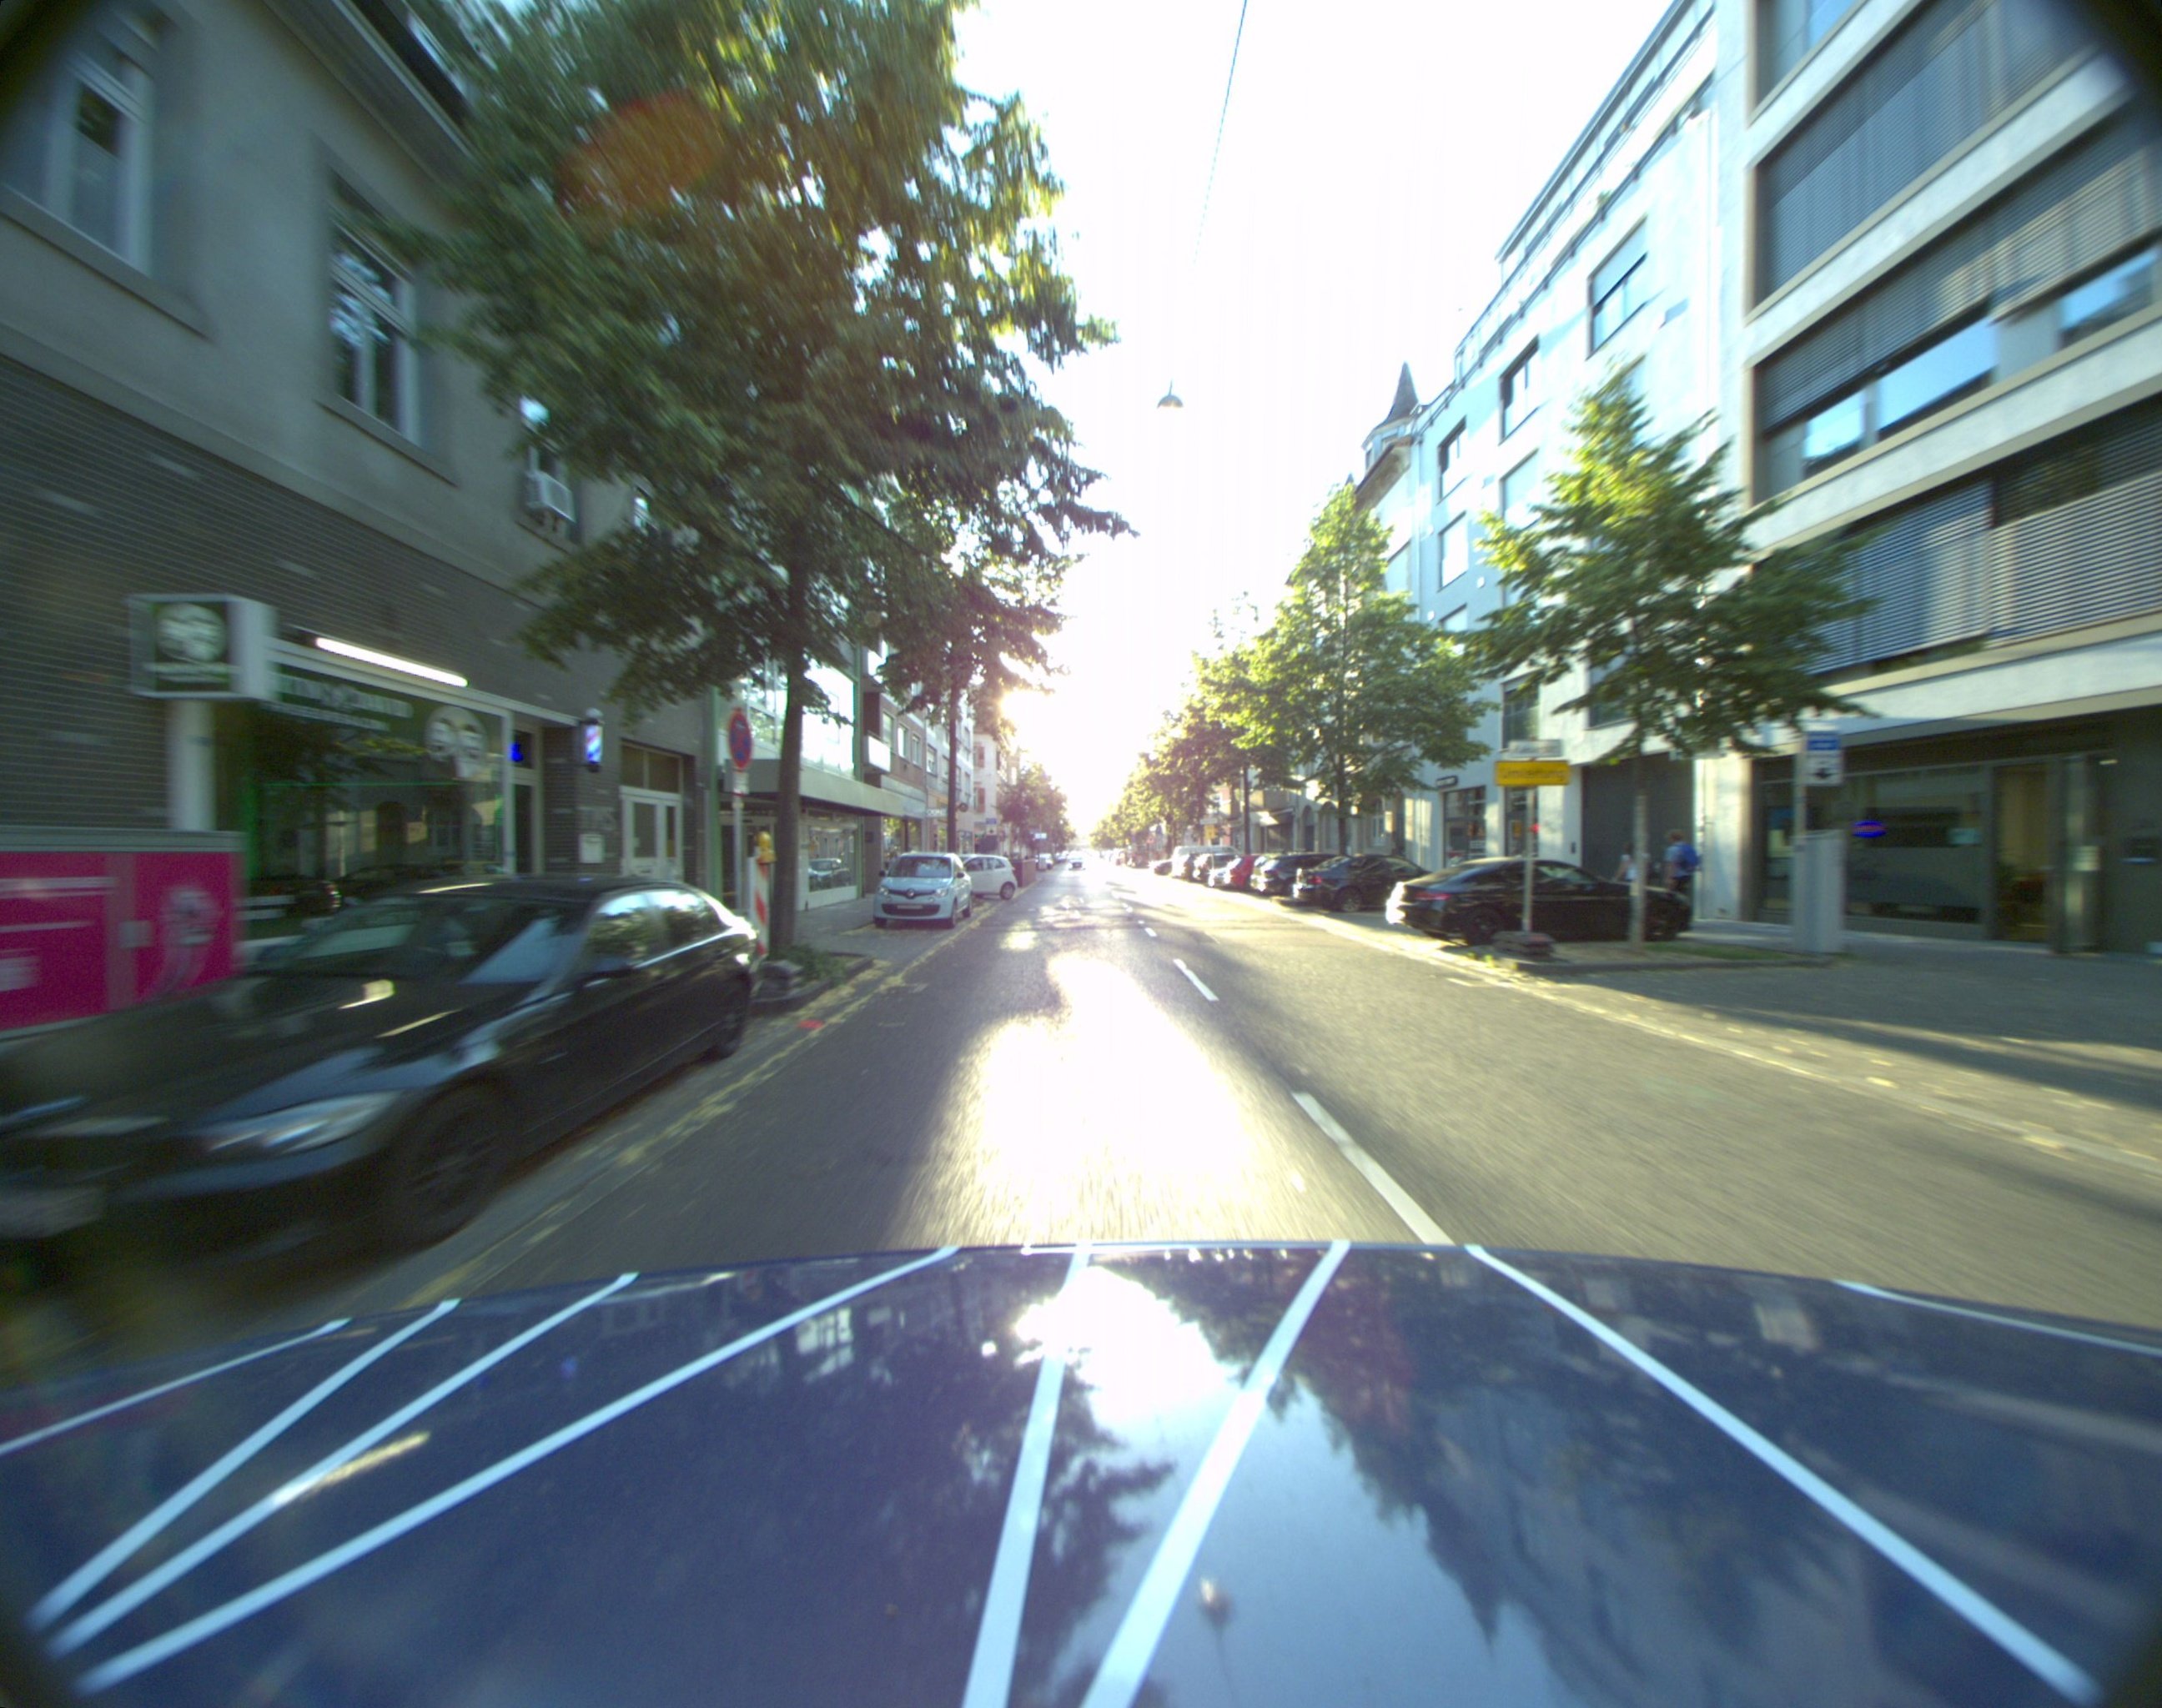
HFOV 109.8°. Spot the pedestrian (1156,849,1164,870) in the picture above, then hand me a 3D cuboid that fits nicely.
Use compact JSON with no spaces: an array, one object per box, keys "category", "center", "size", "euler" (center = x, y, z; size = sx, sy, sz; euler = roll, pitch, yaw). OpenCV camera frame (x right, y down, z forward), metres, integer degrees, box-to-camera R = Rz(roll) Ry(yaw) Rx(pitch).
[{"category":"pedestrian","center":[6.347,0.434,61.029],"size":[0.550,1.638,0.721],"euler":[-1,1,2]}]

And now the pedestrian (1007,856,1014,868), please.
[{"category":"pedestrian","center":[-6.345,0.717,68.384],"size":[0.551,1.128,0.648],"euler":[1,1,1]}]

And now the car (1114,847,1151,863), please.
[{"category":"car","center":[6.405,0.090,95.064],"size":[4.439,1.833,1.814],"euler":[-1,1,-1]}]

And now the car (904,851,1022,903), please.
[{"category":"car","center":[-3.835,0.735,25.108],"size":[1.661,1.574,3.632],"euler":[1,-1,41]}]

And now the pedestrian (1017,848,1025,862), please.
[{"category":"pedestrian","center":[-6.660,0.076,84.234],"size":[0.719,1.565,0.756],"euler":[1,1,1]}]

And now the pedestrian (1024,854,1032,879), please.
[{"category":"pedestrian","center":[-3.159,0.717,45.289],"size":[0.448,1.472,0.547],"euler":[1,1,1]}]

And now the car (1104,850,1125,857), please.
[{"category":"car","center":[6.822,-0.149,154.064],"size":[4.152,1.469,1.826],"euler":[-1,1,0]}]

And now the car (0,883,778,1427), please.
[{"category":"car","center":[-3.545,0.979,4.424],"size":[1.957,1.382,4.423],"euler":[2,0,-3]}]

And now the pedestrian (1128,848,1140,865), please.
[{"category":"pedestrian","center":[5.326,0.286,76.308],"size":[0.898,1.671,0.795],"euler":[-1,1,-37]}]

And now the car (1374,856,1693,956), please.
[{"category":"car","center":[7.375,0.808,12.691],"size":[4.285,1.475,1.744],"euler":[-1,1,0]}]

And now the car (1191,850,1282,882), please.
[{"category":"car","center":[7.803,0.597,38.350],"size":[4.194,1.434,1.732],"euler":[-2,1,0]}]

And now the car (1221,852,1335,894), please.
[{"category":"car","center":[7.466,0.698,29.011],"size":[3.877,1.448,1.744],"euler":[-1,1,-3]}]

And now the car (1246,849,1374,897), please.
[{"category":"car","center":[7.896,0.636,26.432],"size":[3.877,1.558,1.744],"euler":[-1,1,-3]}]

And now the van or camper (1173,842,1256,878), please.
[{"category":"van or camper","center":[7.583,0.335,43.550],"size":[4.469,1.945,1.789],"euler":[-1,1,1]}]

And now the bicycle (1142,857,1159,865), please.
[{"category":"bicycle","center":[7.242,0.748,79.144],"size":[1.796,0.761,0.408],"euler":[-1,1,12]}]

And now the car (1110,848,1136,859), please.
[{"category":"car","center":[6.844,-0.054,123.811],"size":[4.152,1.771,1.826],"euler":[-1,1,-1]}]

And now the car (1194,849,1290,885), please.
[{"category":"car","center":[7.464,0.592,35.629],"size":[4.192,1.528,1.744],"euler":[-2,1,5]}]

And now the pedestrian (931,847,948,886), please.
[{"category":"pedestrian","center":[-6.266,0.541,33.588],"size":[0.607,1.729,0.668],"euler":[-1,1,-1]}]

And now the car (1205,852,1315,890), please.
[{"category":"car","center":[7.323,0.690,31.304],"size":[4.052,1.379,1.744],"euler":[-2,0,-4]}]

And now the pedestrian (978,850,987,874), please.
[{"category":"pedestrian","center":[-6.607,0.522,50.800],"size":[0.493,1.615,0.573],"euler":[1,1,1]}]

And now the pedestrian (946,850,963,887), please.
[{"category":"pedestrian","center":[-5.609,0.640,33.631],"size":[0.607,1.622,0.668],"euler":[-1,1,-1]}]

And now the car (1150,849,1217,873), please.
[{"category":"car","center":[7.240,0.471,53.953],"size":[4.439,1.516,1.814],"euler":[-1,1,-1]}]

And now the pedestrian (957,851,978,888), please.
[{"category":"pedestrian","center":[-4.974,0.668,33.312],"size":[0.748,1.622,0.855],"euler":[-1,1,-1]}]

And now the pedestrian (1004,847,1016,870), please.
[{"category":"pedestrian","center":[-6.069,0.379,64.933],"size":[0.718,1.864,0.757],"euler":[1,1,16]}]

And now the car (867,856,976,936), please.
[{"category":"car","center":[-3.417,0.832,16.887],"size":[1.696,1.534,3.552],"euler":[1,0,-1]}]

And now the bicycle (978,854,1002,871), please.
[{"category":"bicycle","center":[-7.240,0.652,60.522],"size":[1.830,1.335,0.405],"euler":[-1,1,-8]}]

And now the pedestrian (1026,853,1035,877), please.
[{"category":"pedestrian","center":[-3.085,0.672,46.455],"size":[0.448,1.472,0.563],"euler":[1,1,1]}]

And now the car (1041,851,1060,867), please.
[{"category":"car","center":[-3.347,0.554,84.106],"size":[1.825,1.658,4.154],"euler":[-1,1,0]}]

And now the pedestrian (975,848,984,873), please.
[{"category":"pedestrian","center":[-6.600,0.440,49.594],"size":[0.493,1.615,0.573],"euler":[1,1,1]}]

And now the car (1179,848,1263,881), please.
[{"category":"car","center":[7.464,0.542,40.685],"size":[4.193,1.659,1.732],"euler":[-1,1,2]}]

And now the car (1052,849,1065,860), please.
[{"category":"car","center":[-3.641,0.105,122.822],"size":[1.825,1.658,4.154],"euler":[-1,1,0]}]

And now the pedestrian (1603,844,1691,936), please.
[{"category":"pedestrian","center":[10.325,0.627,13.900],"size":[0.721,1.593,1.094],"euler":[-3,1,0]}]

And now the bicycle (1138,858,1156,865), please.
[{"category":"bicycle","center":[6.773,0.785,78.134],"size":[1.796,0.761,0.408],"euler":[-1,1,12]}]

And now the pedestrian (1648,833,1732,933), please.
[{"category":"pedestrian","center":[11.066,0.509,13.844],"size":[0.721,1.739,0.933],"euler":[-3,1,0]}]

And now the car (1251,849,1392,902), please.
[{"category":"car","center":[7.539,0.655,24.049],"size":[3.877,1.558,1.744],"euler":[-1,1,-3]}]

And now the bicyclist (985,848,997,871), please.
[{"category":"bicyclist","center":[-7.153,0.447,60.503],"size":[0.871,1.783,0.536],"euler":[-1,1,-7]}]

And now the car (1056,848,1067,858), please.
[{"category":"car","center":[-3.285,-0.195,129.621],"size":[1.825,1.658,4.154],"euler":[-1,1,0]}]

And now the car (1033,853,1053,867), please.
[{"category":"car","center":[-3.800,0.608,76.799],"size":[1.825,1.344,4.154],"euler":[-1,1,0]}]

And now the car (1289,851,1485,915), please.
[{"category":"car","center":[7.686,0.692,19.314],"size":[4.286,1.475,1.744],"euler":[-1,1,-3]}]

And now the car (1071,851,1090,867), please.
[{"category":"car","center":[-0.062,0.494,77.113],"size":[1.825,1.469,4.154],"euler":[-1,1,0]}]
